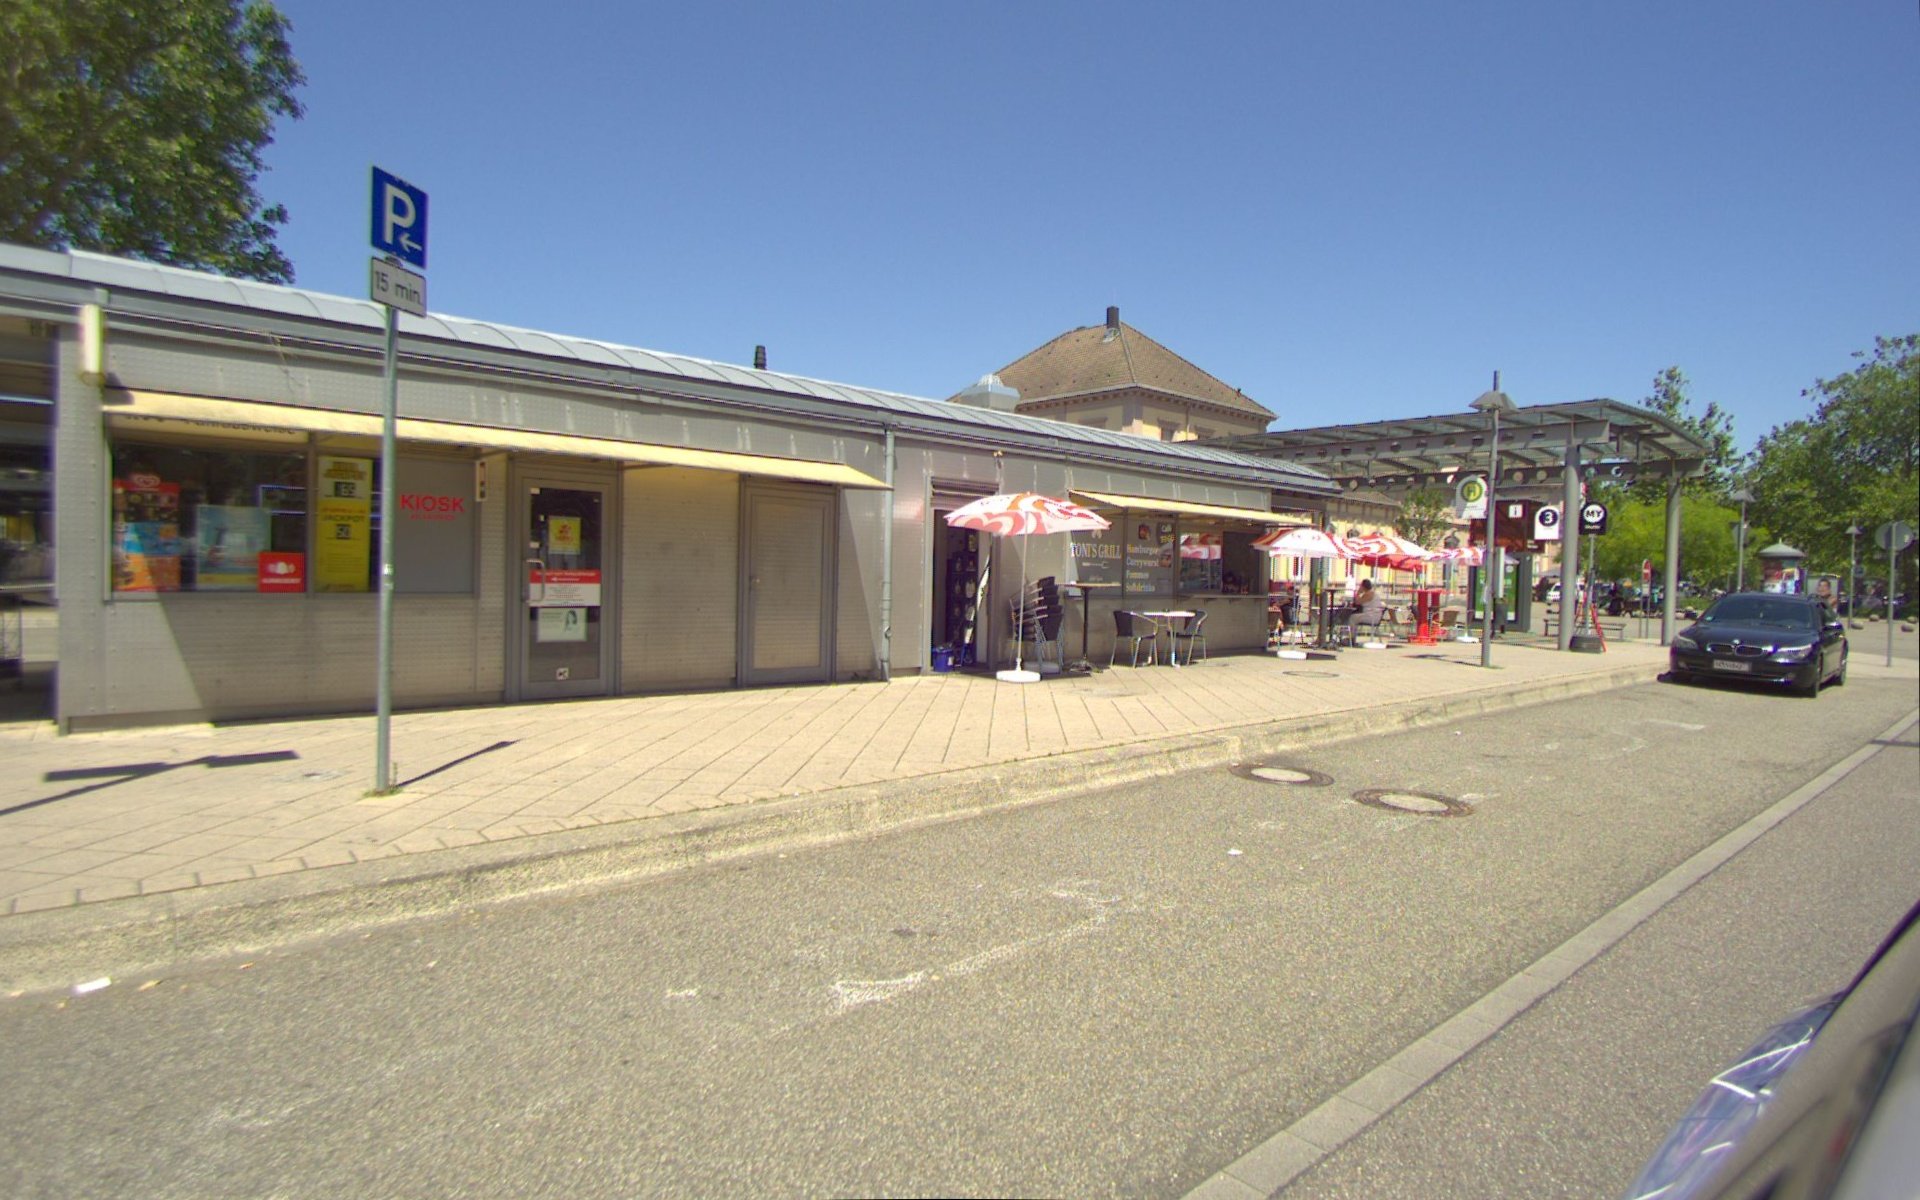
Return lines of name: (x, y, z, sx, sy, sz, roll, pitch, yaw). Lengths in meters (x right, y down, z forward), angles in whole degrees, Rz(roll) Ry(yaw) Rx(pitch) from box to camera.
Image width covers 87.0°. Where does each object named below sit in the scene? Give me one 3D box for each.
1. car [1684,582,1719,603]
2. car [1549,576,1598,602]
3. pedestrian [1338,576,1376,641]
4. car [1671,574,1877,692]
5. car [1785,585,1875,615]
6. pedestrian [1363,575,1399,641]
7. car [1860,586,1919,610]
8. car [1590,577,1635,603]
car: (75.876, -0.814, 103.507, 3.930, 2.038, 1.997, 0, 2, -41)
car: (46.660, -0.814, 76.946, 3.930, 1.903, 1.998, 0, 2, -41)
pedestrian: (7.710, 0.158, 19.679, 0.463, 1.226, 0.490, 0, 1, -35)
car: (13.037, 0.428, 16.131, 4.109, 1.563, 1.778, 0, 4, -41)
car: (53.146, -0.021, 61.834, 1.967, 1.685, 3.991, 0, 2, -44)
pedestrian: (8.112, 0.146, 19.494, 0.501, 1.247, 0.506, 2, 1, 39)
car: (70.790, -0.153, 76.568, 3.986, 1.685, 1.969, 2, 2, 43)
car: (52.643, -0.825, 81.684, 3.930, 2.038, 1.997, 0, 2, -41)
